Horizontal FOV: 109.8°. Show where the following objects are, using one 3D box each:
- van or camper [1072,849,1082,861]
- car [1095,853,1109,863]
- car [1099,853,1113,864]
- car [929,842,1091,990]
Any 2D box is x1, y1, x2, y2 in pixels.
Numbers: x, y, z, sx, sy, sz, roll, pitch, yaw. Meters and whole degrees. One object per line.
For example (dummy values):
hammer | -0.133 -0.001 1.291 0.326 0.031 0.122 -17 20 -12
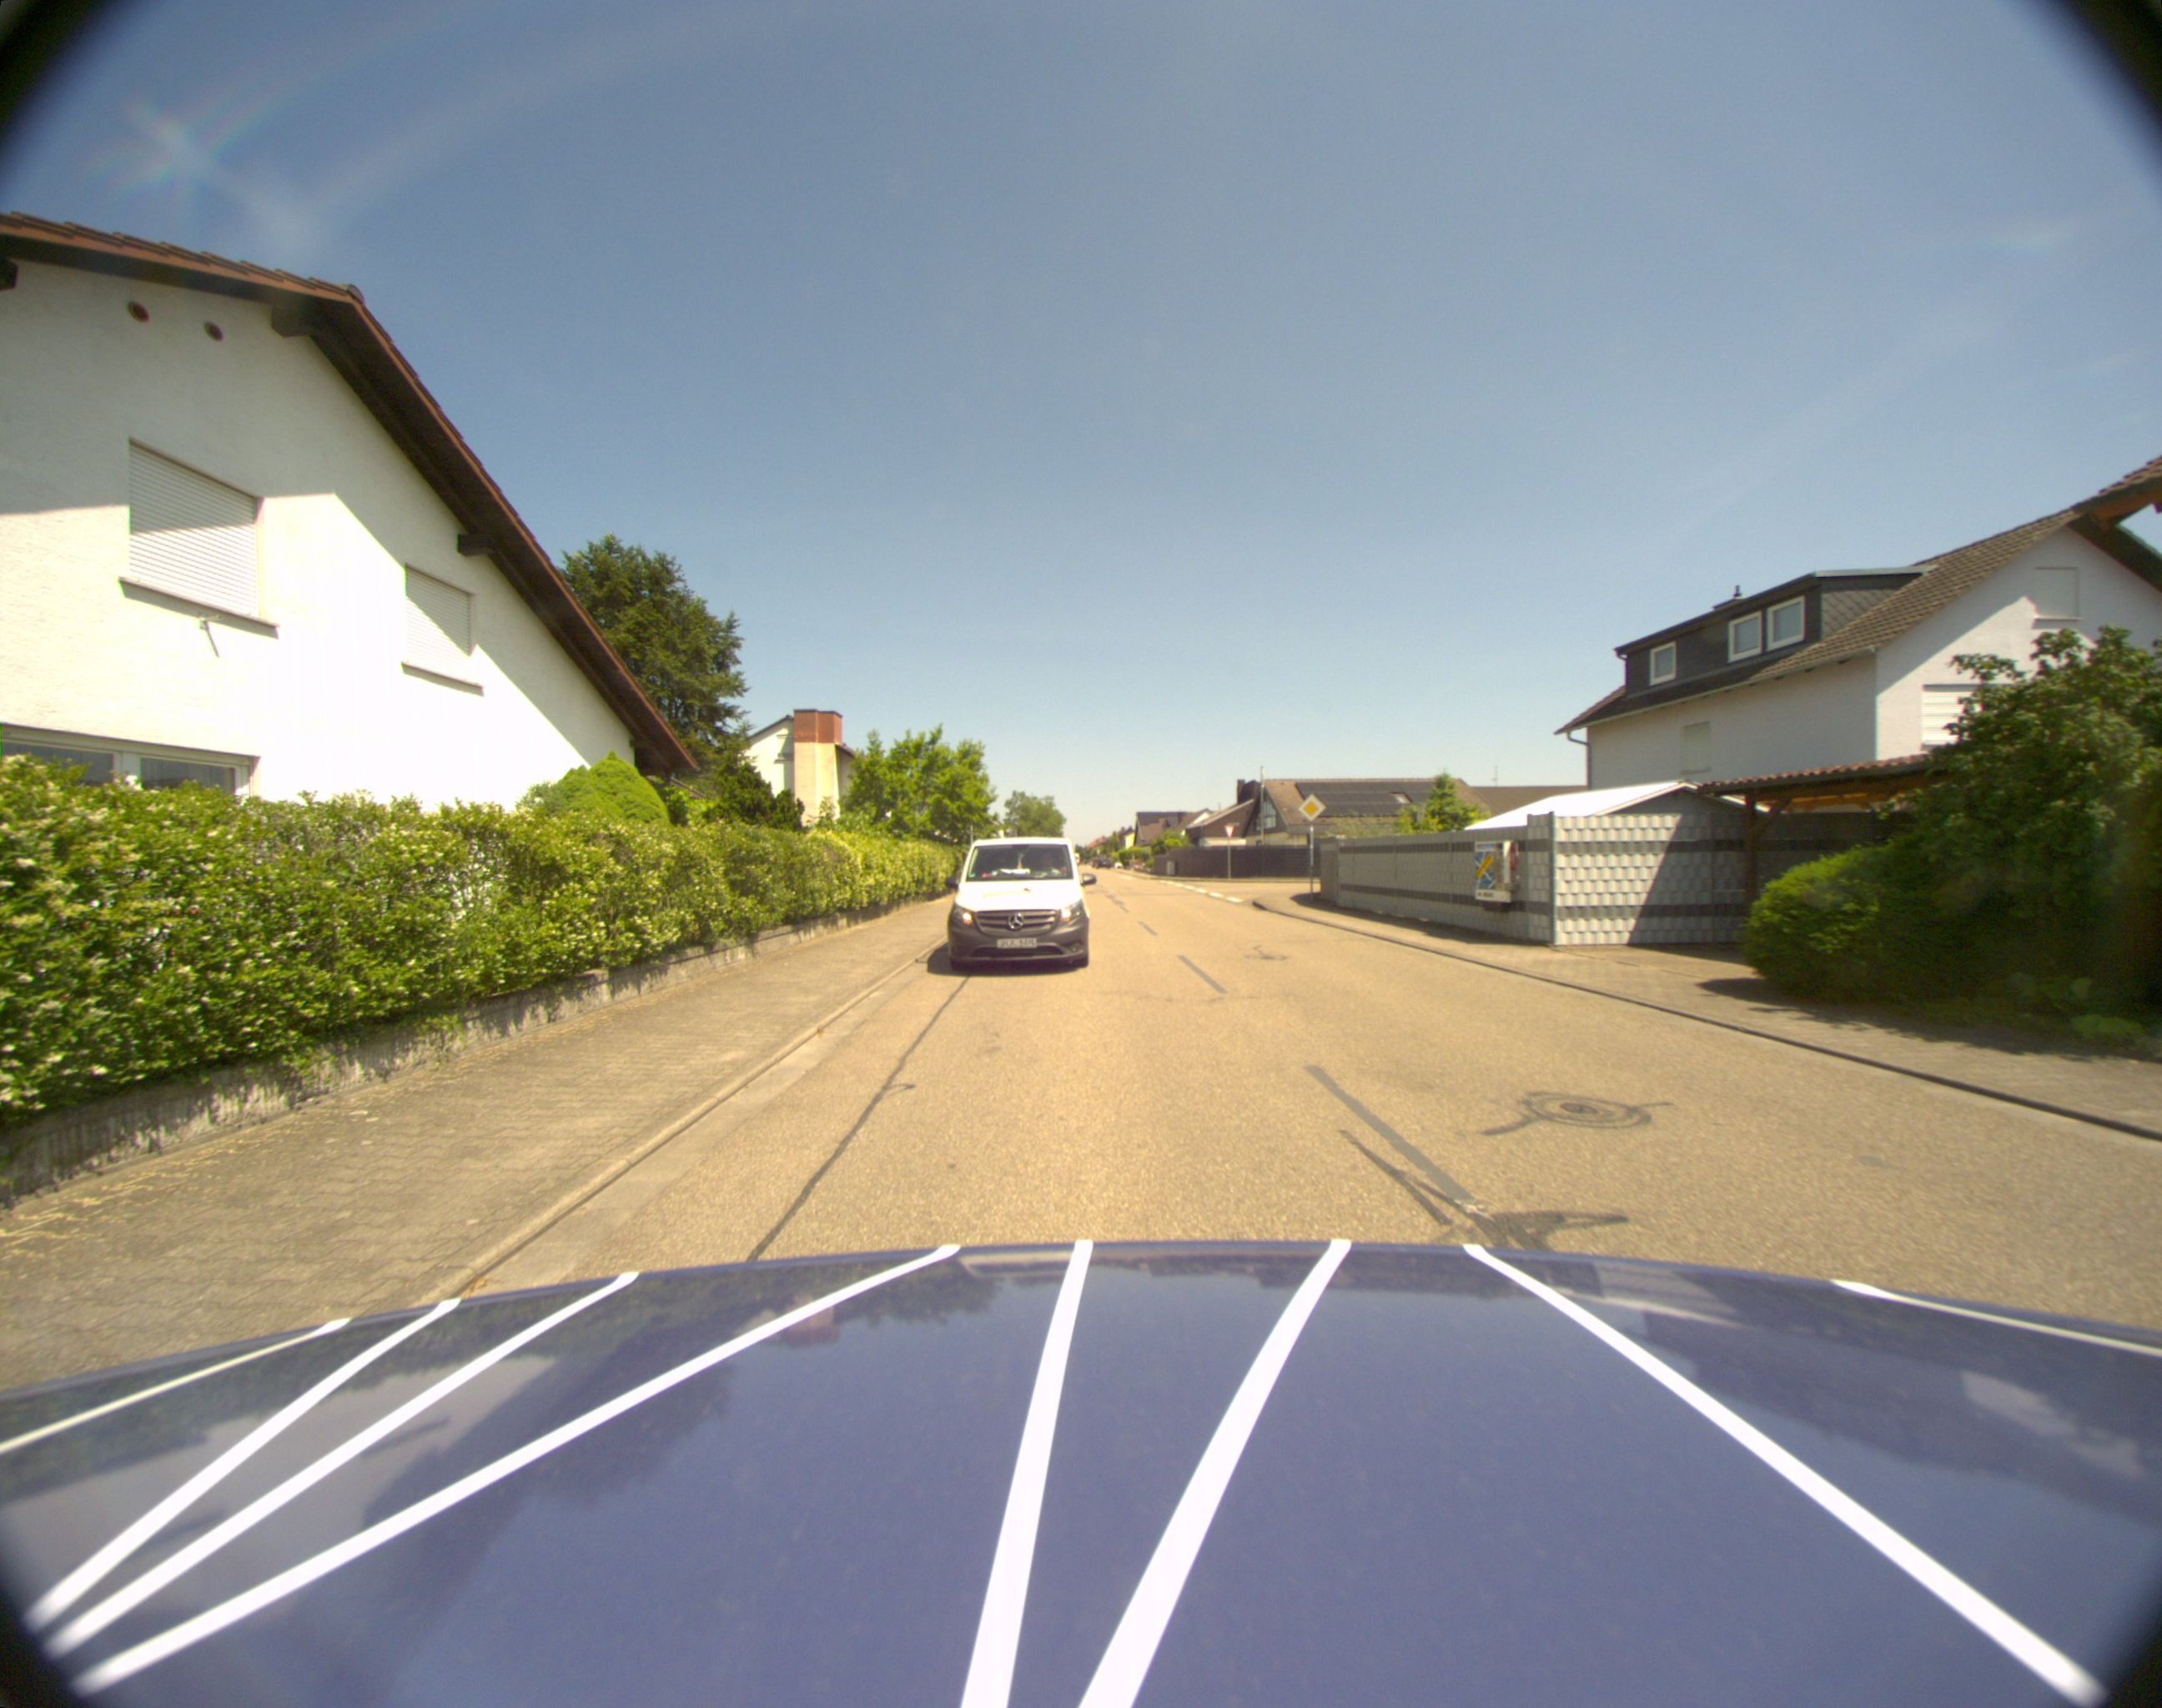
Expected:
van or camper | -0.873 0.152 163.925 2.069 2.576 4.602 0 0 -2
car | 3.163 0.591 115.564 1.998 1.390 4.000 -1 0 1
car | 3.285 0.579 99.421 1.807 1.390 4.000 -1 0 1
car | -0.901 0.756 12.054 2.018 1.846 5.067 -1 1 0
